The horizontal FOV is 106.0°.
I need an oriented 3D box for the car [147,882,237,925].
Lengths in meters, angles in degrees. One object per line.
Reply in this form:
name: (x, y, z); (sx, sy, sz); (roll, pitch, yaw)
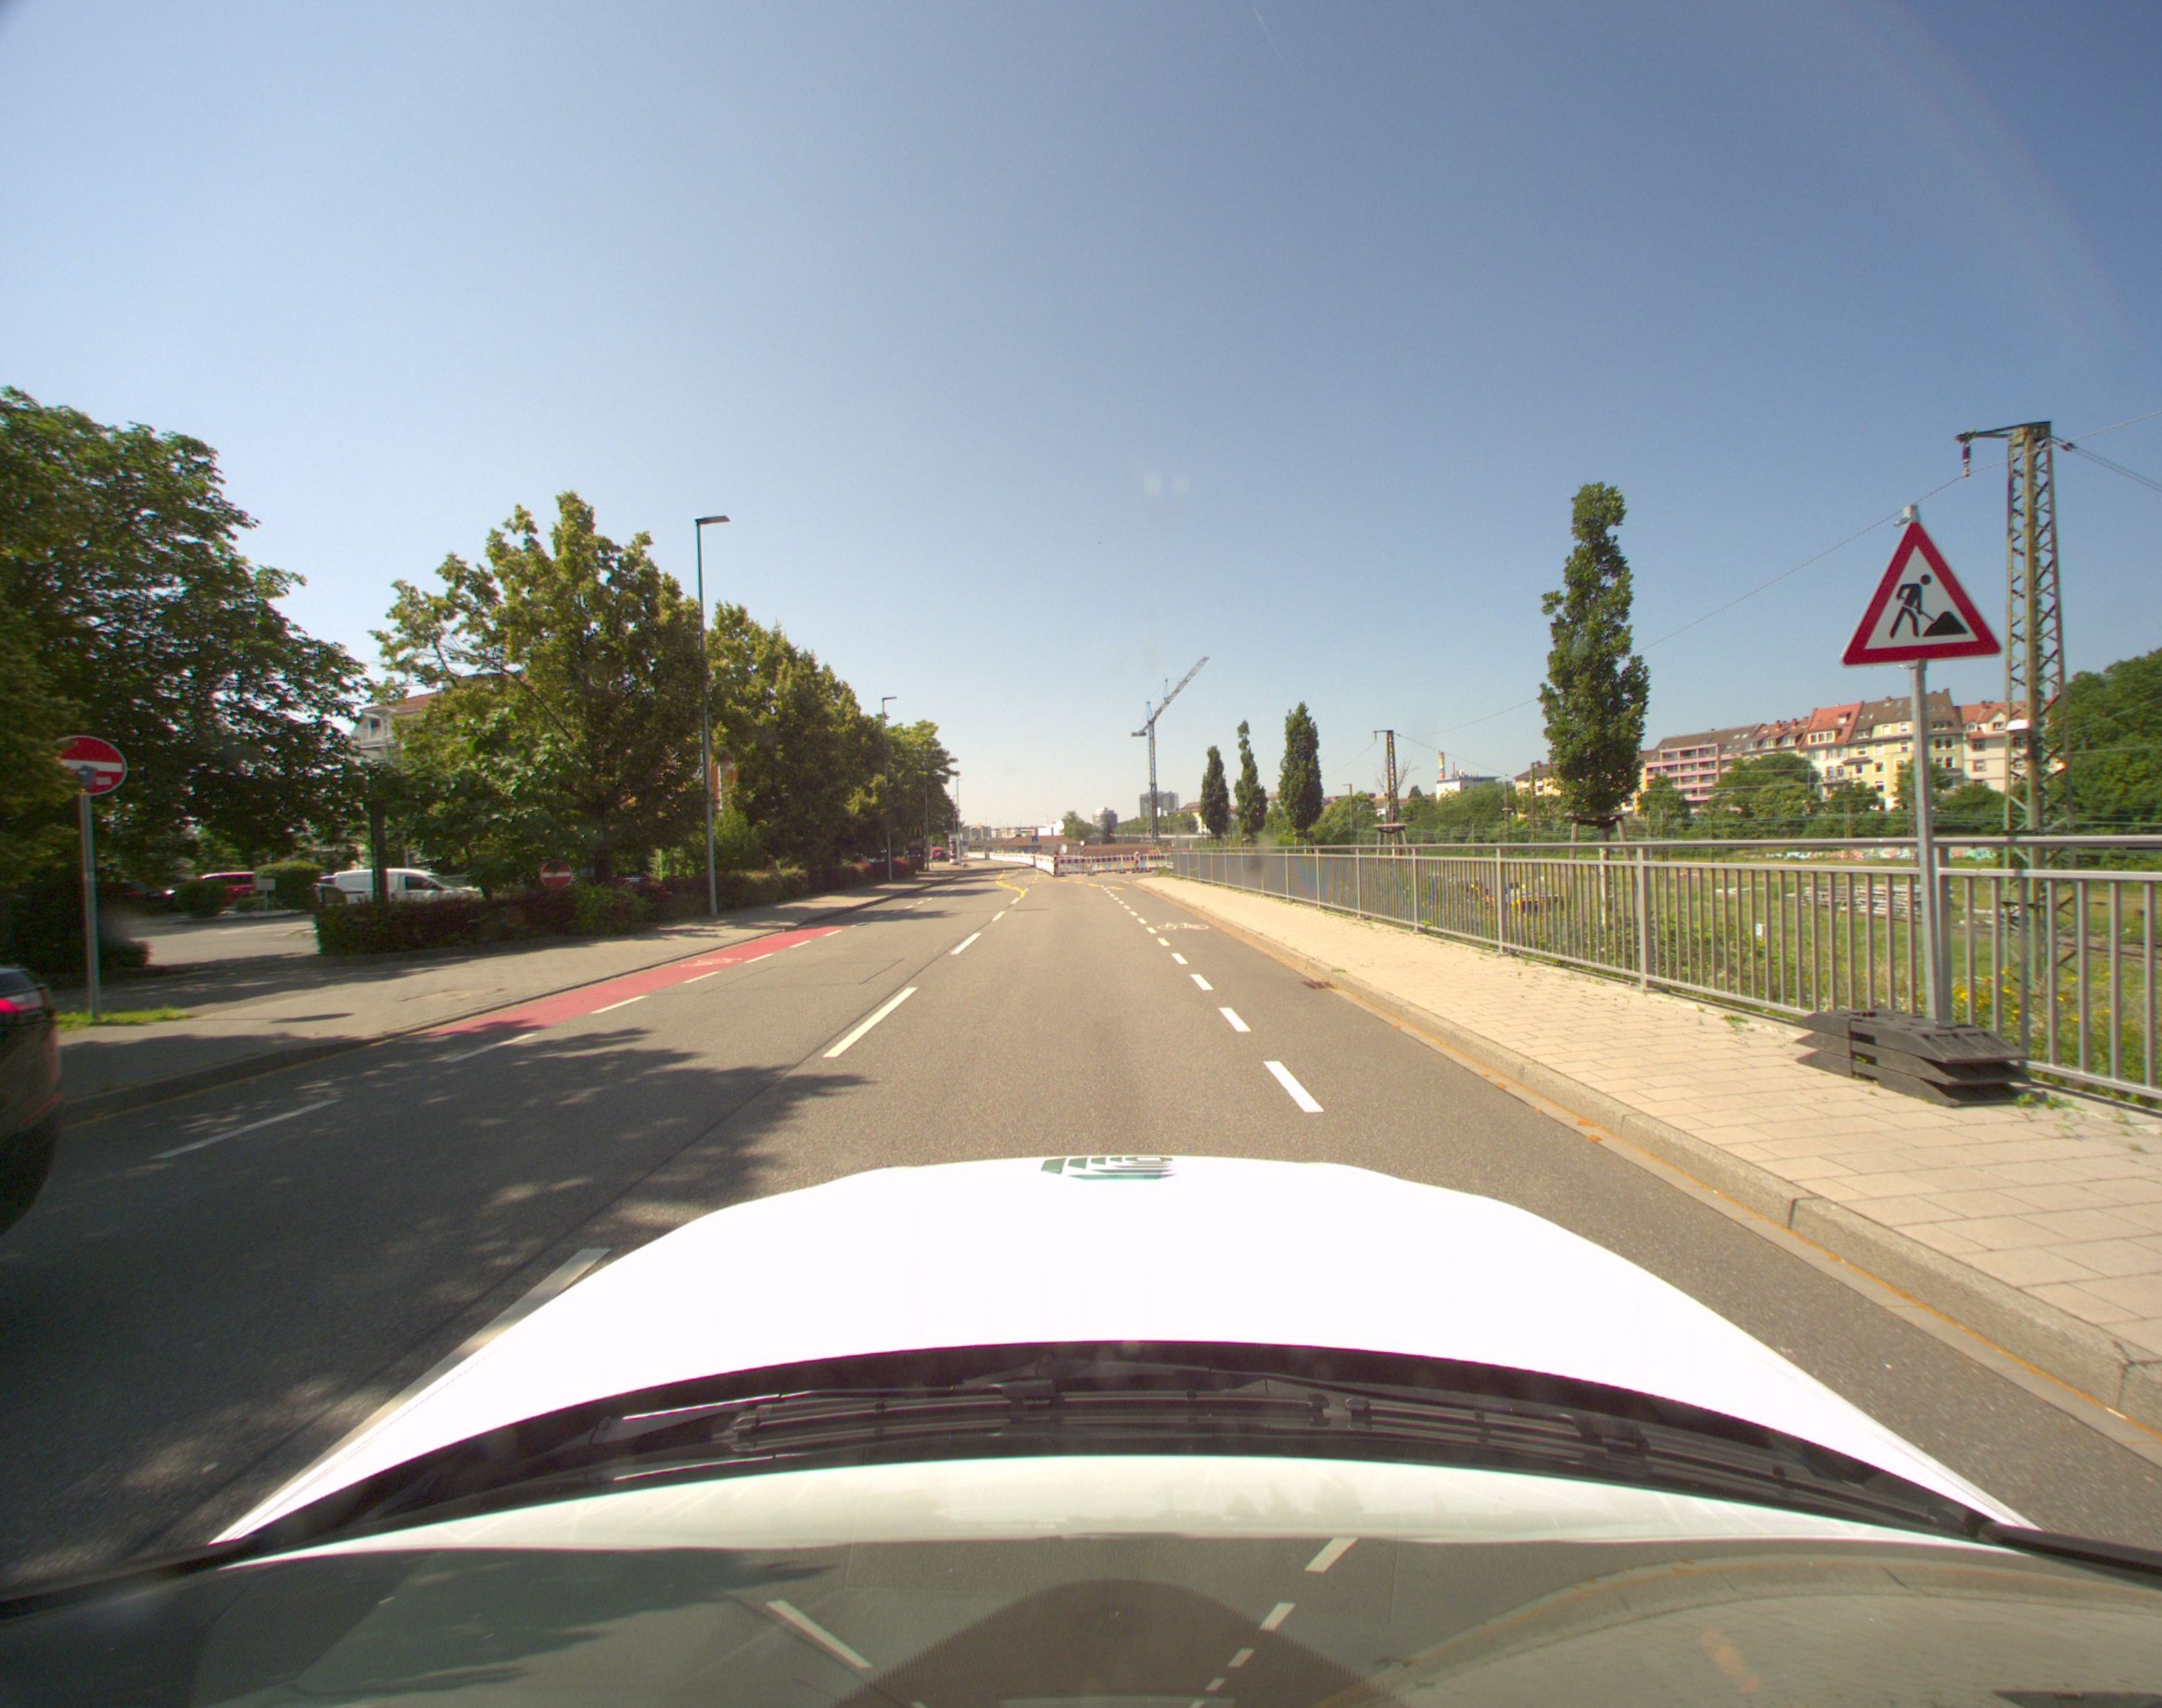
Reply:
car: (-34.986, 1.933, 32.054); (3.390, 1.526, 1.511); (-2, 1, 28)

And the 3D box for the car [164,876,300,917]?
car: (-39.407, 1.942, 37.907); (3.992, 1.598, 1.790); (-3, 1, -14)

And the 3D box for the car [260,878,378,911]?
car: (-38.337, 2.007, 41.098); (4.007, 1.338, 1.572); (-3, 1, -25)

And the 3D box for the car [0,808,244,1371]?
car: (-4.245, 0.771, 0.831); (1.944, 1.695, 4.612); (-3, 1, -1)

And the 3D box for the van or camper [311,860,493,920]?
van or camper: (-23.237, 1.171, 28.092); (4.284, 1.740, 1.987); (-3, 1, -19)

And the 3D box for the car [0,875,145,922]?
car: (-41.649, 1.808, 33.354); (3.992, 1.598, 1.790); (-3, 1, -14)

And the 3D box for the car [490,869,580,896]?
car: (-34.231, 1.762, 51.208); (4.284, 1.438, 1.987); (-3, 1, -19)
